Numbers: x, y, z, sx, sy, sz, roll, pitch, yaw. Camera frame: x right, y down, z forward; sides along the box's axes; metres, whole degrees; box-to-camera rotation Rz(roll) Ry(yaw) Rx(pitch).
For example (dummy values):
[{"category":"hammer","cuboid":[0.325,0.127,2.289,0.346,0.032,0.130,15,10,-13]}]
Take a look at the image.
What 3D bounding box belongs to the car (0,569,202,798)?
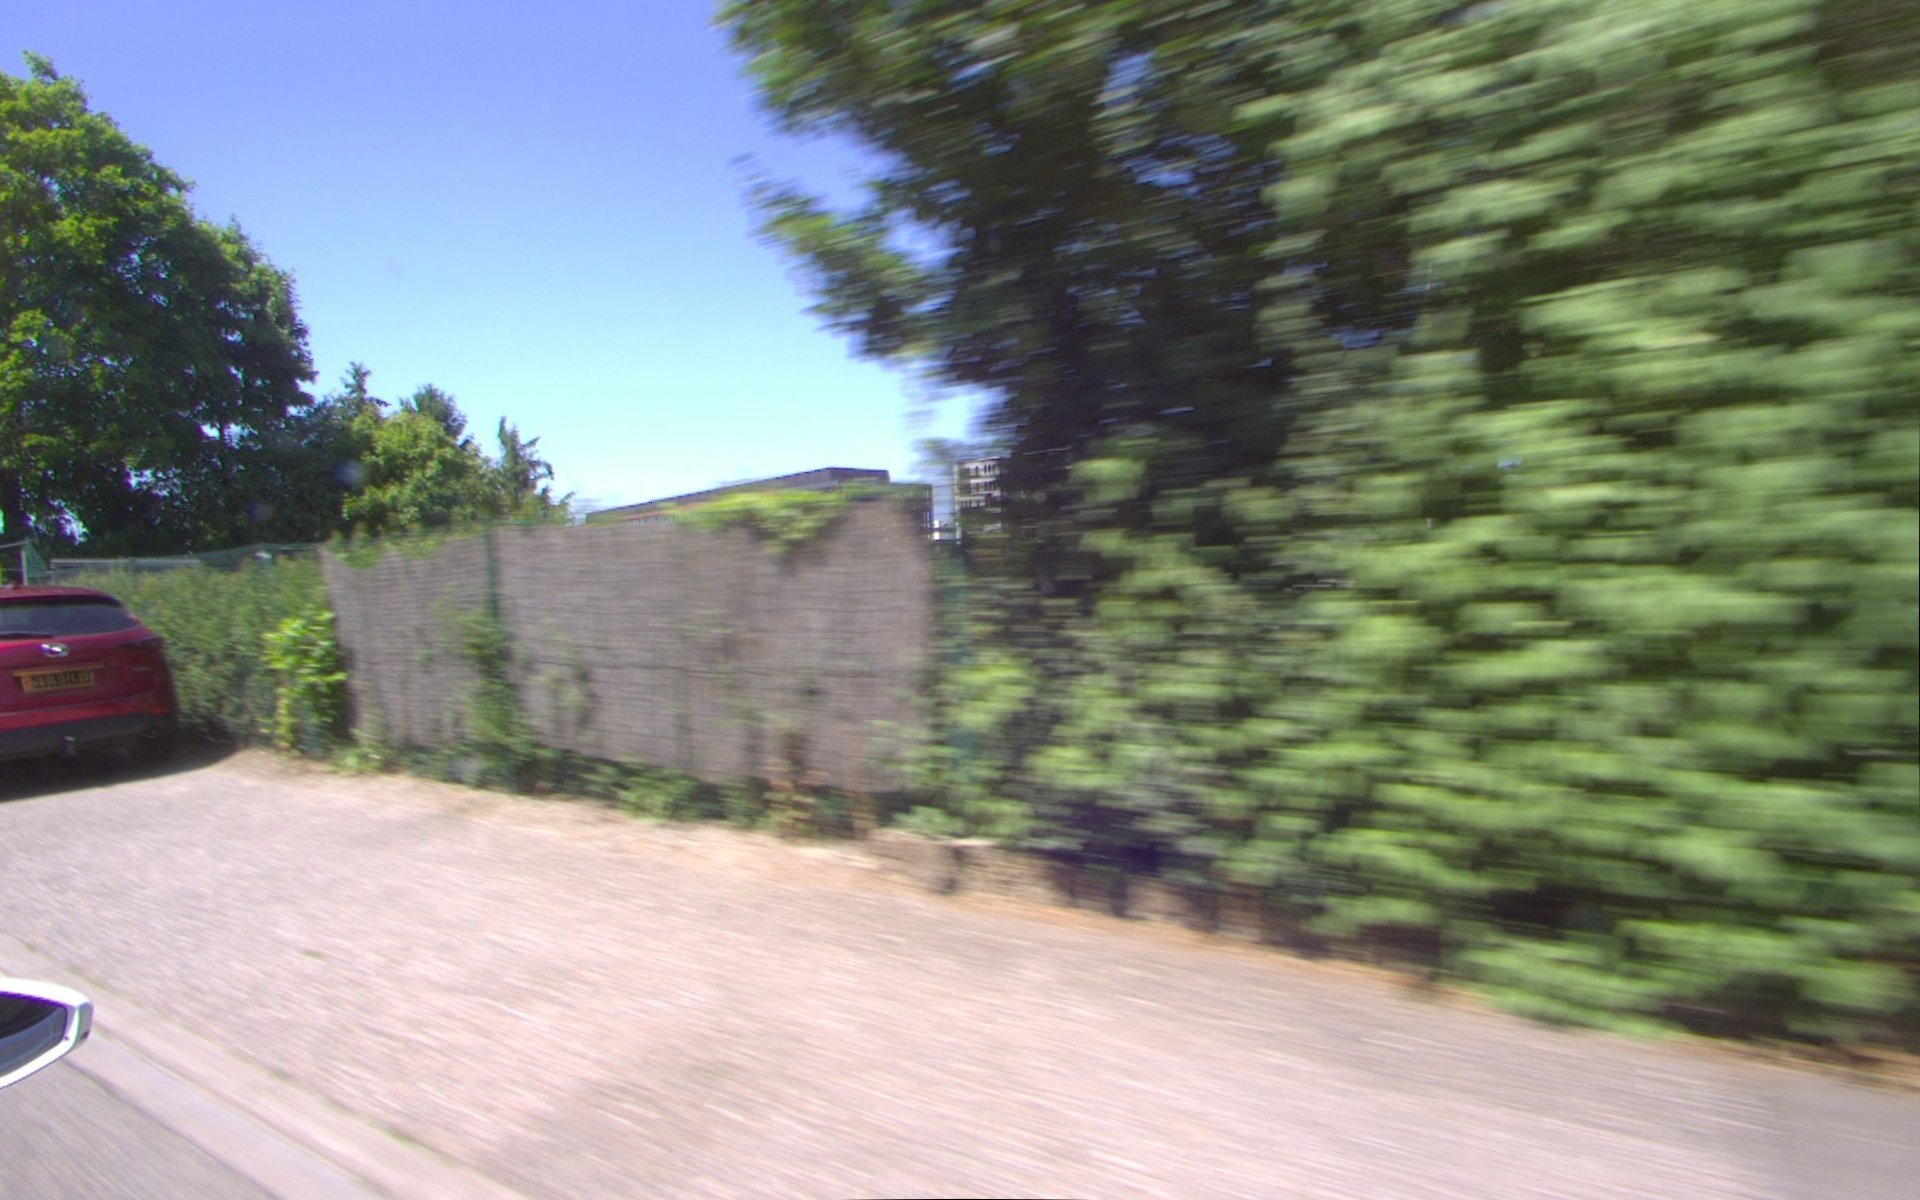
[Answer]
[{"category":"car","cuboid":[-8.960,0.673,9.158,4.391,1.681,1.783,-1,4,34]}]
